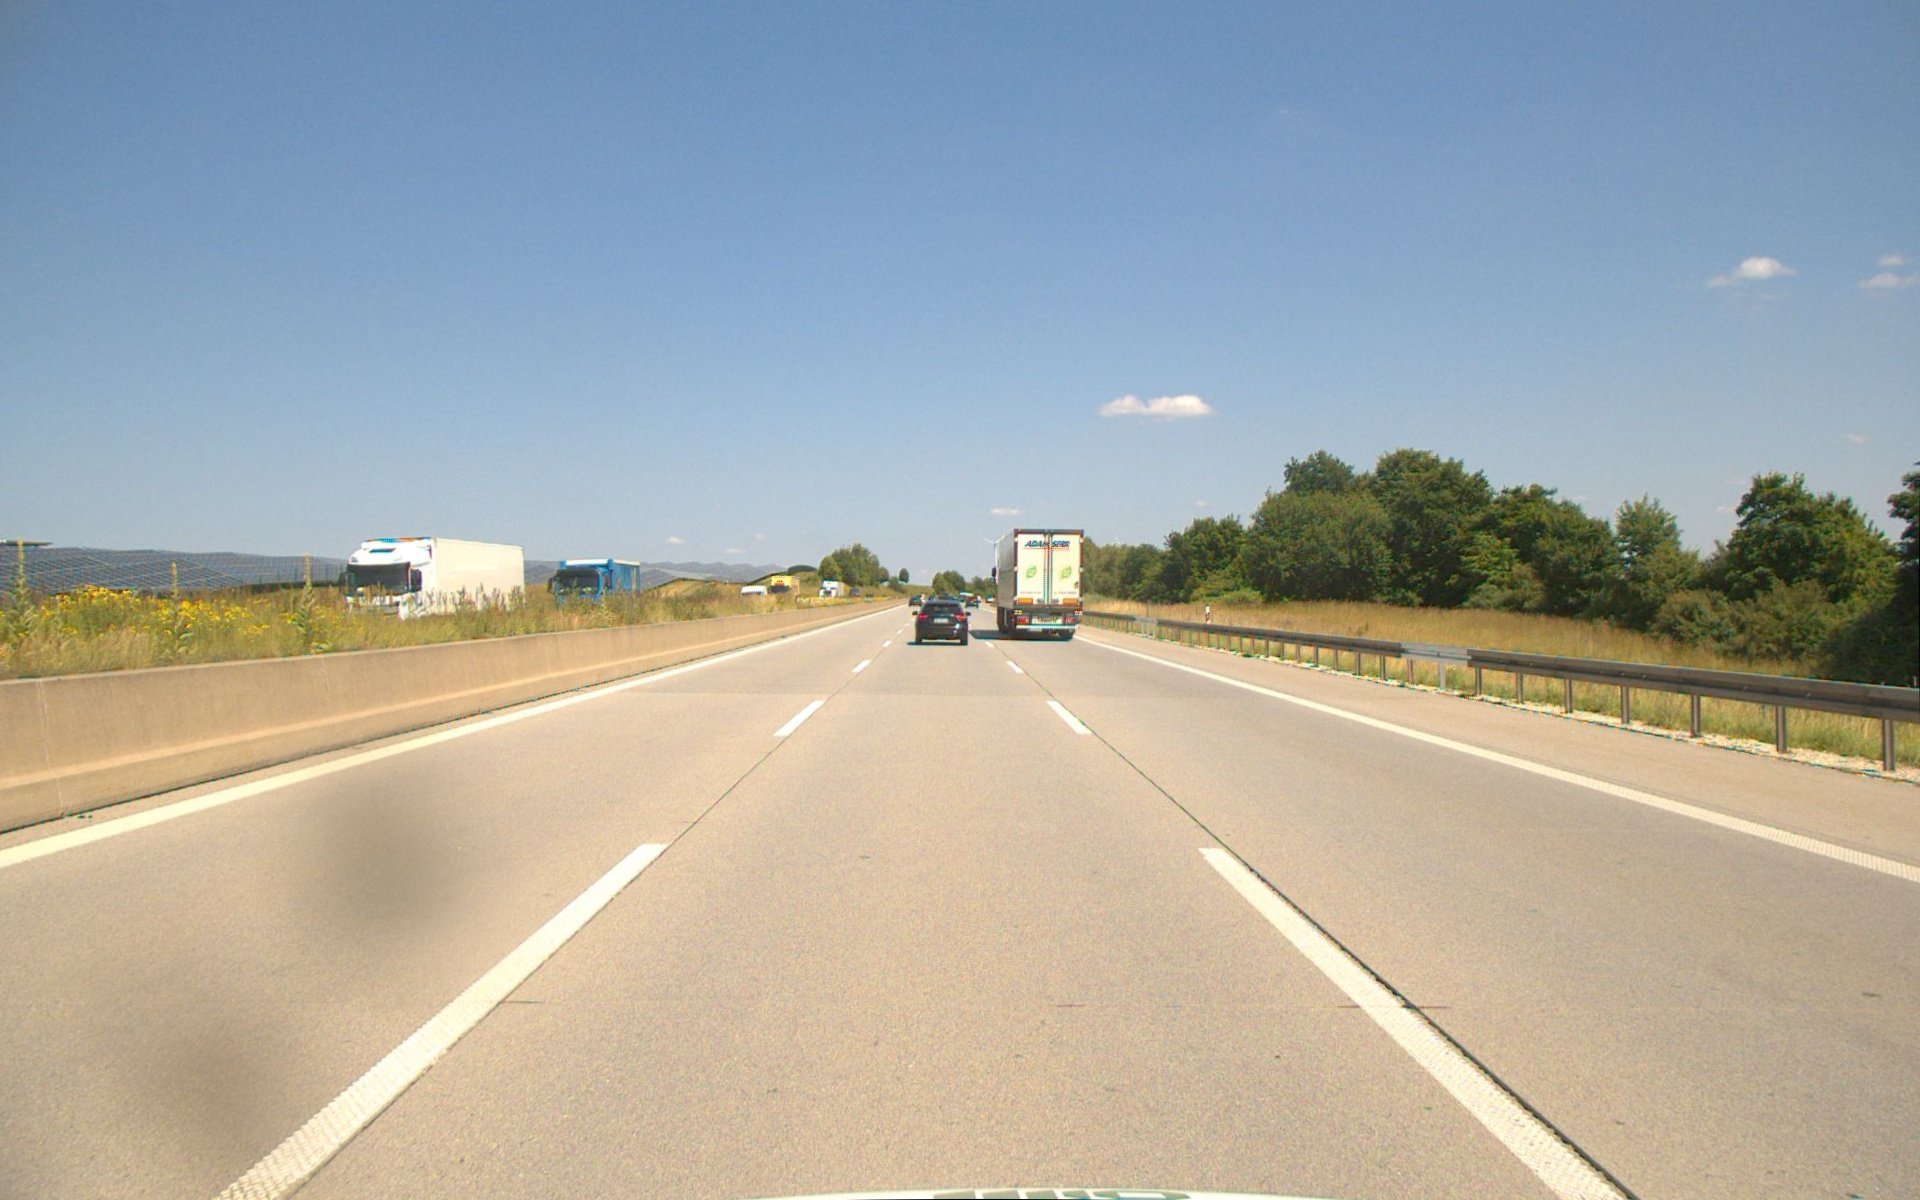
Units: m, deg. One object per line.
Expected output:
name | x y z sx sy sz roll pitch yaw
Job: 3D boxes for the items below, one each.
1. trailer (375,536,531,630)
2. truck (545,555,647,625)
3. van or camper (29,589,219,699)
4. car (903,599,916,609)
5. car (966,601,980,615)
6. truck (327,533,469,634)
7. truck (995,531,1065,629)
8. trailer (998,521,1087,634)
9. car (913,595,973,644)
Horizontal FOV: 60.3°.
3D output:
trailer | -21.223 -0.615 70.101 3.012 3.586 11.761 1 0 -1
truck | -17.497 -0.405 80.168 2.767 3.117 10.372 1 0 -1
van or camper | -16.213 0.805 32.300 1.726 2.004 3.949 1 0 -1
car | -7.042 0.586 232.036 1.622 1.217 3.959 3 0 -1
car | 1.819 1.065 229.069 1.790 1.940 3.999 1 0 -1
truck | -21.198 -0.565 62.834 3.059 3.548 6.884 1 0 -1
truck | 3.088 -0.862 74.411 2.755 4.159 5.797 1 0 -1
trailer | 3.165 -0.818 66.718 2.794 4.113 12.711 1 0 -1
car | -0.582 0.612 54.997 1.871 1.518 4.191 1 0 -1
